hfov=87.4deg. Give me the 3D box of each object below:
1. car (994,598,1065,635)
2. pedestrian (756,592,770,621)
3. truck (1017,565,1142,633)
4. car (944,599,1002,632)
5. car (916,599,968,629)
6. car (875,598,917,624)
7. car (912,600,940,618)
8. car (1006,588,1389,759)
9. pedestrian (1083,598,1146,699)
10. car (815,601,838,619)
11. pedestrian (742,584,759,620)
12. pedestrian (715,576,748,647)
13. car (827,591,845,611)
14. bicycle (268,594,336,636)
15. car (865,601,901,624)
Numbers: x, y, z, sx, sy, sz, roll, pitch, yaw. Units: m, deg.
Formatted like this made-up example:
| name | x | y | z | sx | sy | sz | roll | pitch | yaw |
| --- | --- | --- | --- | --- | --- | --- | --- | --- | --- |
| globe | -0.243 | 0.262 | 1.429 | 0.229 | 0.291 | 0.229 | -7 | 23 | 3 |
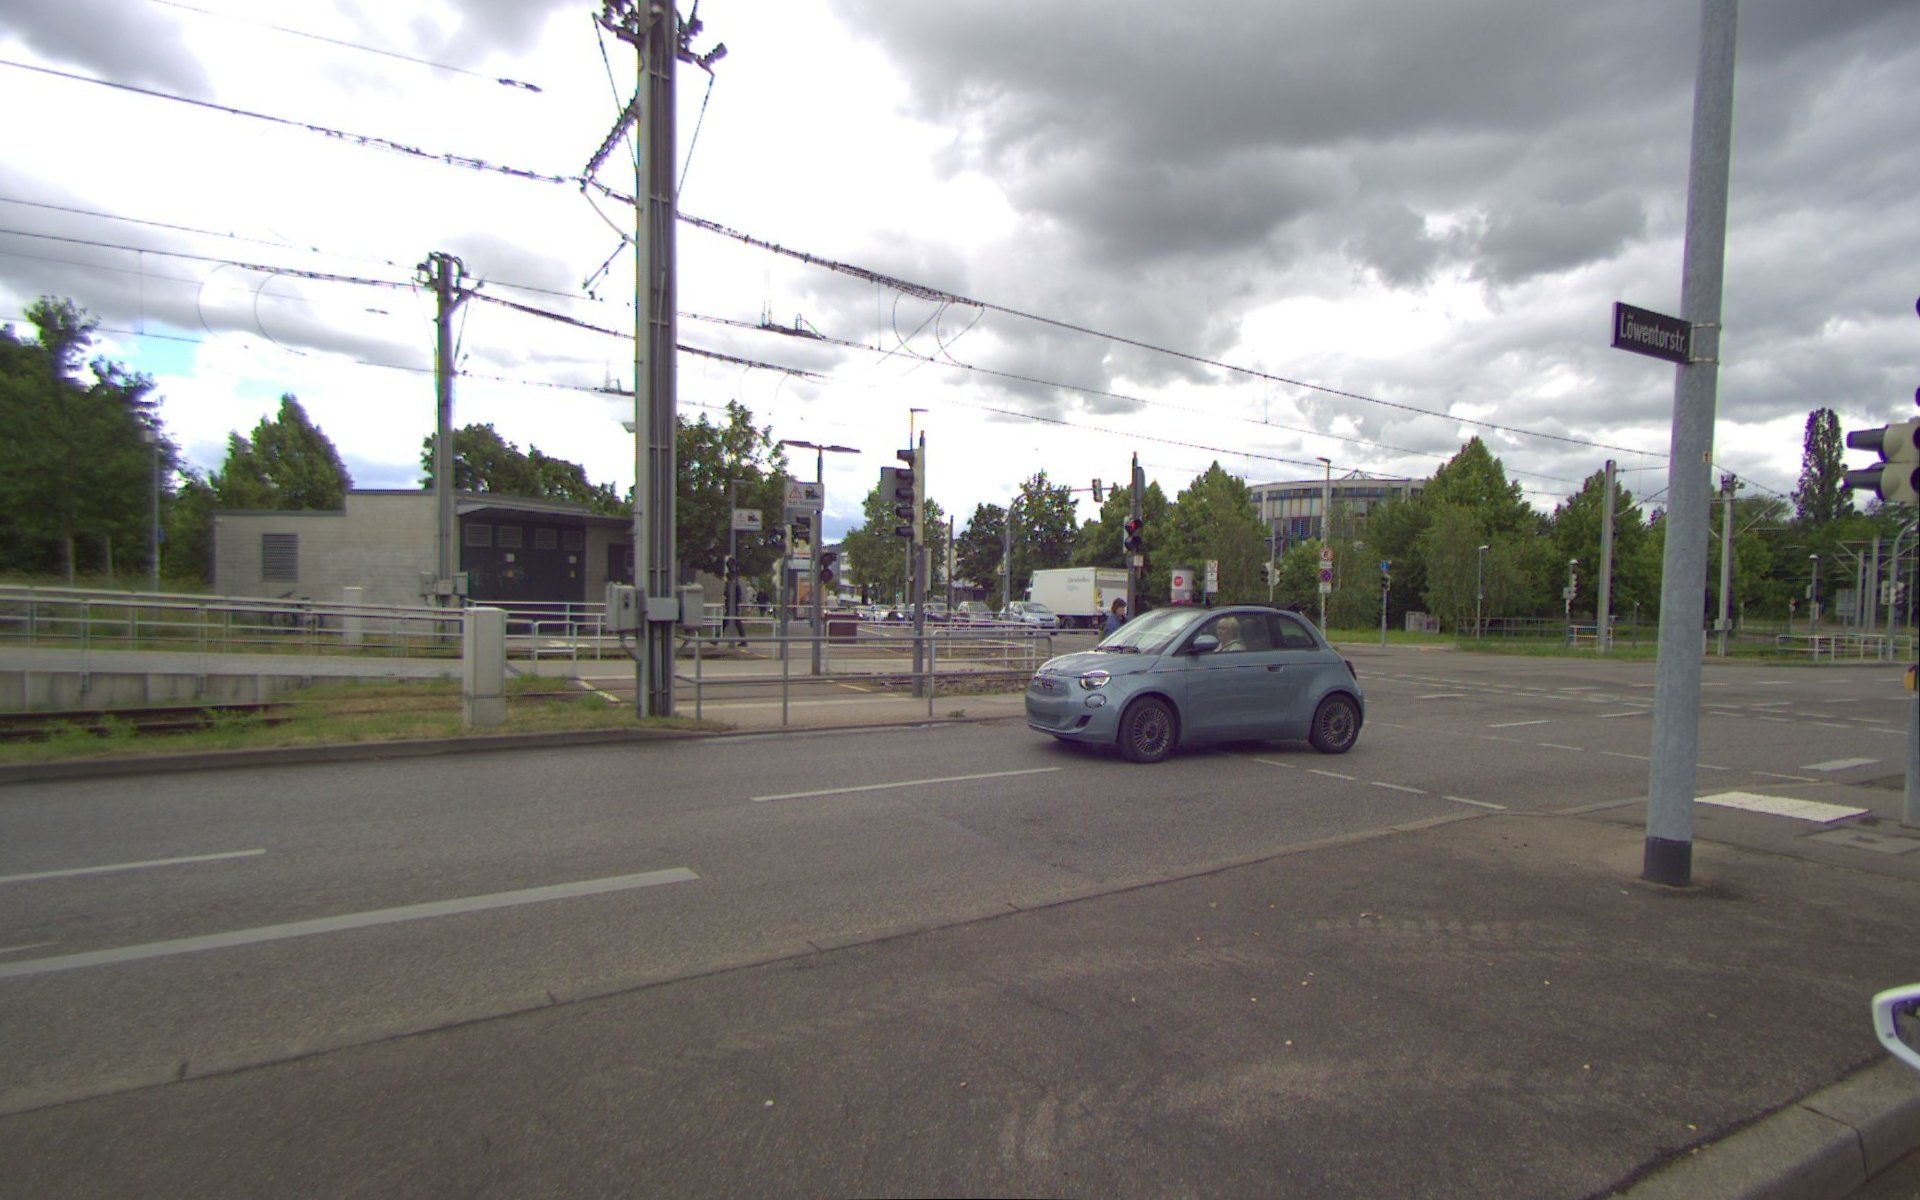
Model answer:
| name | x | y | z | sx | sy | sz | roll | pitch | yaw |
| --- | --- | --- | --- | --- | --- | --- | --- | --- | --- |
| car | 3.188 | 0.733 | 46.889 | 1.848 | 1.617 | 3.982 | 2 | 0 | -20 |
| pedestrian | -9.428 | 0.303 | 48.058 | 0.593 | 1.377 | 0.614 | 2 | 0 | -18 |
| truck | 6.654 | -0.056 | 58.061 | 2.973 | 3.580 | 9.231 | 1 | 0 | -23 |
| car | 0.657 | 0.794 | 53.856 | 1.776 | 1.617 | 3.982 | 2 | 0 | -20 |
| car | -1.073 | 0.761 | 58.029 | 1.776 | 1.617 | 3.982 | 2 | 0 | -20 |
| car | -4.314 | 0.707 | 67.281 | 1.776 | 1.617 | 3.982 | 2 | 0 | -20 |
| car | -3.177 | 0.806 | 92.138 | 2.010 | 1.617 | 3.993 | 2 | 0 | -10 |
| car | 2.471 | 0.717 | 10.596 | 3.547 | 1.548 | 1.753 | 2 | 0 | -21 |
| pedestrian | 2.458 | 0.766 | 16.020 | 0.712 | 1.557 | 0.630 | 2 | 0 | -33 |
| car | -13.995 | 1.035 | 105.198 | 1.869 | 1.805 | 3.988 | 1 | 0 | -14 |
| pedestrian | -9.267 | 0.089 | 44.439 | 0.633 | 1.557 | 0.521 | 2 | 0 | -2 |
| pedestrian | -5.764 | 0.286 | 25.302 | 0.700 | 1.751 | 0.674 | 2 | 0 | -19 |
| car | -14.627 | 0.129 | 118.097 | 1.964 | 2.218 | 5.800 | 1 | 0 | -9 |
| bicycle | -17.419 | 0.391 | 26.575 | 1.778 | 1.045 | 0.536 | 2 | 0 | 21 |
| car | -5.775 | 0.926 | 74.889 | 1.775 | 1.617 | 3.985 | 2 | 0 | -17 |
